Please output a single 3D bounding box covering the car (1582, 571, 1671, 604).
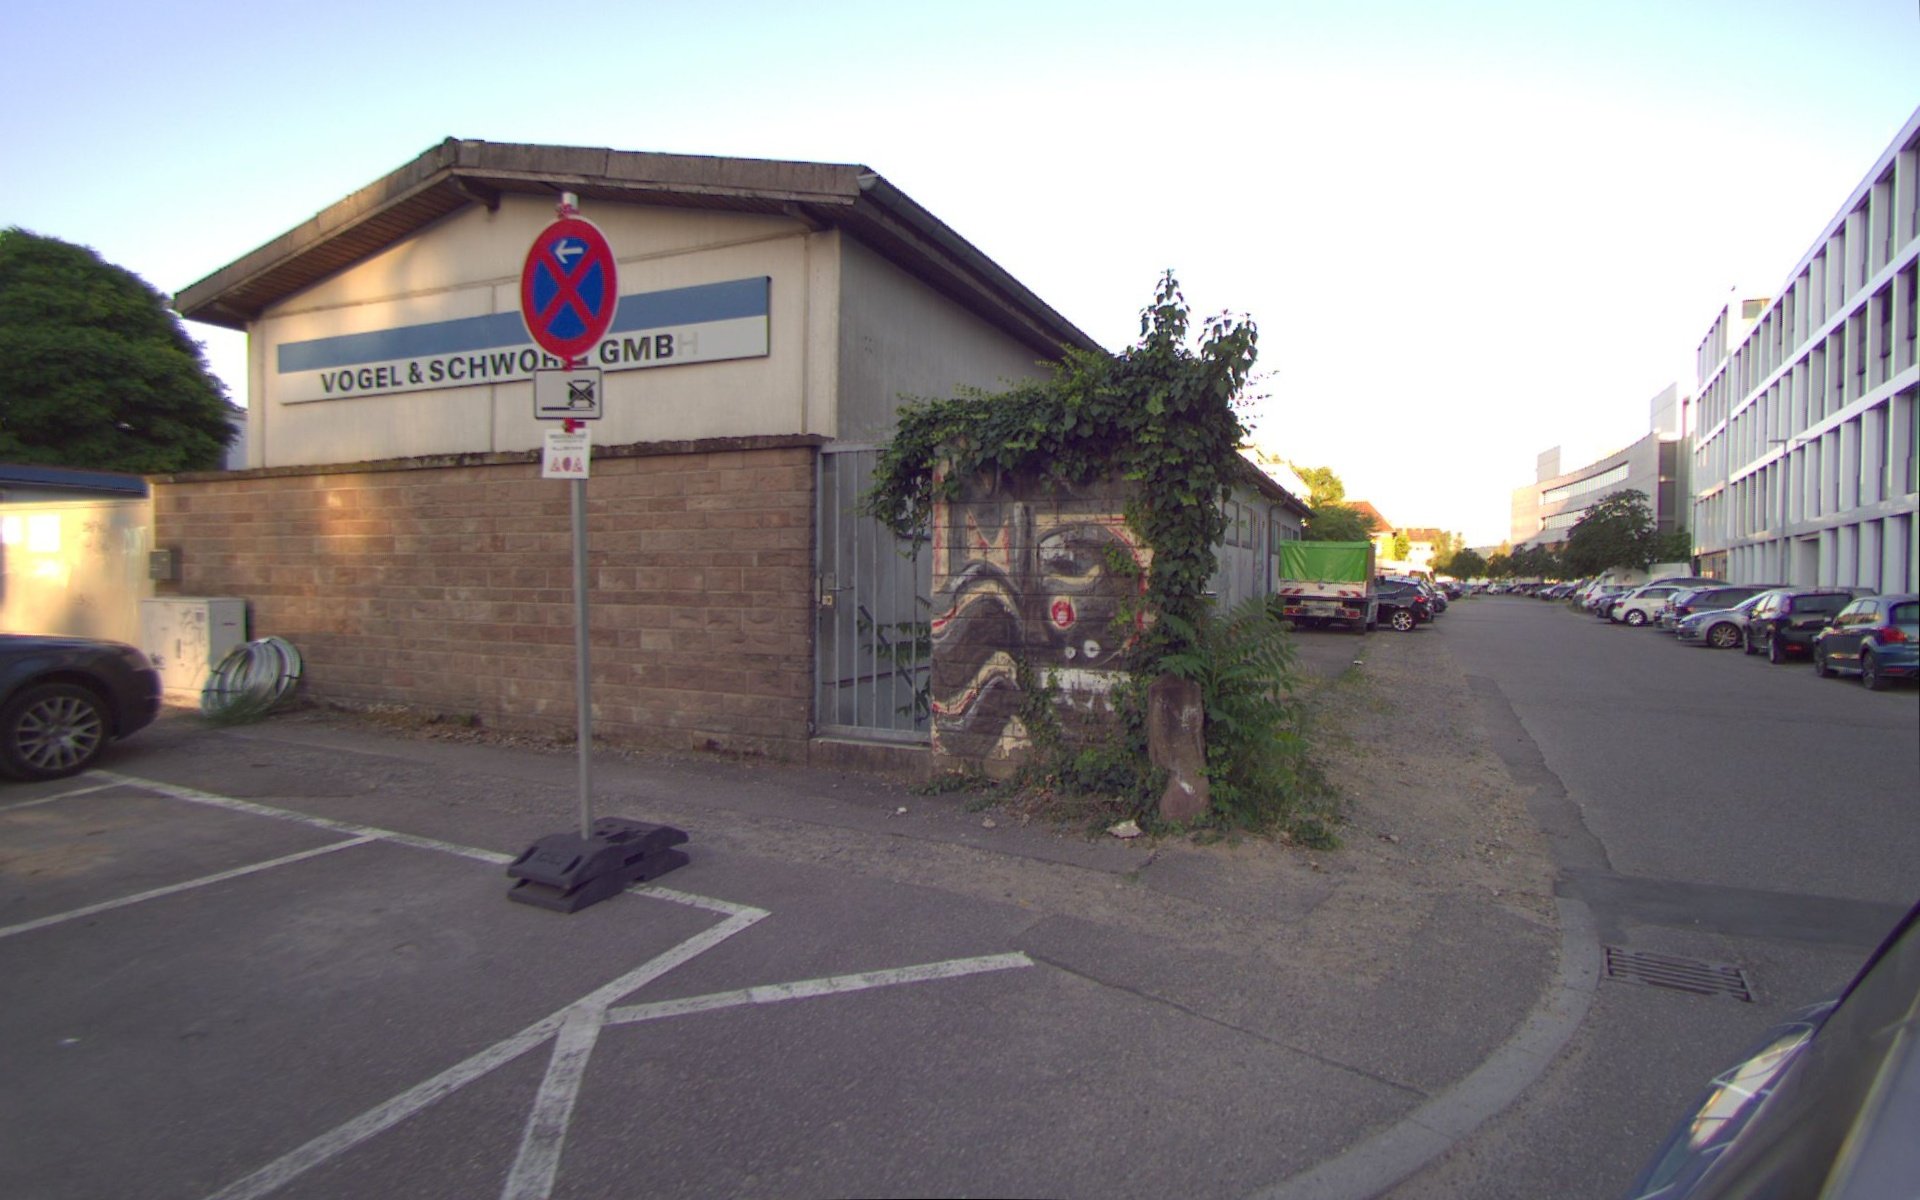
[{"bbox_3d":[38.421,-0.722,58.462,4.079,1.840,1.800,0,0,26],"label":"car"}]

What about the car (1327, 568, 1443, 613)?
[{"bbox_3d":[16.000,-0.364,38.148,3.954,1.639,1.812,0,1,25],"label":"car"}]

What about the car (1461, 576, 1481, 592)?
[{"bbox_3d":[50.617,-1.573,100.259,1.666,1.481,4.327,2,2,27],"label":"car"}]

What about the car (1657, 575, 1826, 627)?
[{"bbox_3d":[24.041,0.012,31.334,3.945,1.530,1.776,0,0,31],"label":"car"}]

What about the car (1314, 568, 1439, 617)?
[{"bbox_3d":[14.738,-0.277,35.805,3.958,1.629,1.921,0,1,27],"label":"car"}]

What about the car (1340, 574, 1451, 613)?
[{"bbox_3d":[17.355,-0.267,40.362,3.960,1.463,1.809,0,2,29],"label":"car"}]

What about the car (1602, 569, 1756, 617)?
[{"bbox_3d":[26.839,-0.263,38.002,4.601,1.727,1.981,0,0,34],"label":"car"}]

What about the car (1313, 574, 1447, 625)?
[{"bbox_3d":[12.986,-0.043,31.308,3.735,1.462,1.828,0,2,27],"label":"car"}]

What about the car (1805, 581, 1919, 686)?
[{"bbox_3d":[15.344,0.462,16.312,1.637,1.457,4.147,-3,0,26],"label":"car"}]

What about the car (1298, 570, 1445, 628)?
[{"bbox_3d":[11.856,-0.059,29.177,3.739,1.554,1.872,0,2,30],"label":"car"}]

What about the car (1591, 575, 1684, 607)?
[{"bbox_3d":[33.390,-0.438,50.009,3.688,1.514,1.690,0,0,30],"label":"car"}]

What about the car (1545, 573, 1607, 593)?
[{"bbox_3d":[61.703,-1.663,101.507,5.028,1.904,1.874,-1,0,24],"label":"car"}]

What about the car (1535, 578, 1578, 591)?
[{"bbox_3d":[65.072,-1.654,110.422,3.771,1.378,1.785,-1,0,24],"label":"car"}]

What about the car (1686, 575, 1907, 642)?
[{"bbox_3d":[20.215,0.184,24.685,3.907,1.530,1.669,0,0,31],"label":"car"}]

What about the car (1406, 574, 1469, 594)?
[{"bbox_3d":[36.266,-1.209,76.906,4.287,1.349,1.879,3,2,26],"label":"car"}]

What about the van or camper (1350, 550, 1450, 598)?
[{"bbox_3d":[28.491,-1.718,65.515,5.744,2.899,2.464,2,2,27],"label":"van or camper"}]

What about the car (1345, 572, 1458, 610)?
[{"bbox_3d":[18.563,-0.396,42.587,4.180,1.521,1.871,0,2,30],"label":"car"}]

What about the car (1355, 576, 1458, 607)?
[{"bbox_3d":[20.712,-0.394,46.994,4.183,1.384,1.803,0,1,32],"label":"car"}]

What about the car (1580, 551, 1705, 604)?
[{"bbox_3d":[36.077,-1.148,53.691,5.355,2.666,2.055,0,0,31],"label":"car"}]

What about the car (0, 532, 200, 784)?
[{"bbox_3d":[-7.101,0.400,5.411,1.807,1.549,4.705,1,3,17],"label":"car"}]

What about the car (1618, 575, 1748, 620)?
[{"bbox_3d":[25.501,-0.101,35.826,3.652,1.530,1.676,0,0,34],"label":"car"}]

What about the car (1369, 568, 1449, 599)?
[{"bbox_3d":[27.718,-1.038,62.545,4.224,1.762,1.945,3,2,33],"label":"car"}]

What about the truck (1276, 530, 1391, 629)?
[{"bbox_3d":[9.650,-0.490,25.829,2.085,2.228,5.656,2,1,27],"label":"truck"}]

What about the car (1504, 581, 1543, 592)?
[{"bbox_3d":[71.183,-1.681,127.812,3.975,1.365,1.789,-1,0,18],"label":"car"}]

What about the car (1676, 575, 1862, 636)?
[{"bbox_3d":[21.472,0.120,27.049,3.636,1.530,1.669,0,0,31],"label":"car"}]

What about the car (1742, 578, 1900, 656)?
[{"bbox_3d":[18.119,0.314,21.509,1.638,1.457,4.160,-3,0,28],"label":"car"}]

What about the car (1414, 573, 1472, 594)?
[{"bbox_3d":[37.616,-1.297,78.901,4.029,1.425,1.879,3,2,26],"label":"car"}]

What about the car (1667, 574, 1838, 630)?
[{"bbox_3d":[22.577,0.046,29.004,3.636,1.530,1.669,0,0,31],"label":"car"}]
